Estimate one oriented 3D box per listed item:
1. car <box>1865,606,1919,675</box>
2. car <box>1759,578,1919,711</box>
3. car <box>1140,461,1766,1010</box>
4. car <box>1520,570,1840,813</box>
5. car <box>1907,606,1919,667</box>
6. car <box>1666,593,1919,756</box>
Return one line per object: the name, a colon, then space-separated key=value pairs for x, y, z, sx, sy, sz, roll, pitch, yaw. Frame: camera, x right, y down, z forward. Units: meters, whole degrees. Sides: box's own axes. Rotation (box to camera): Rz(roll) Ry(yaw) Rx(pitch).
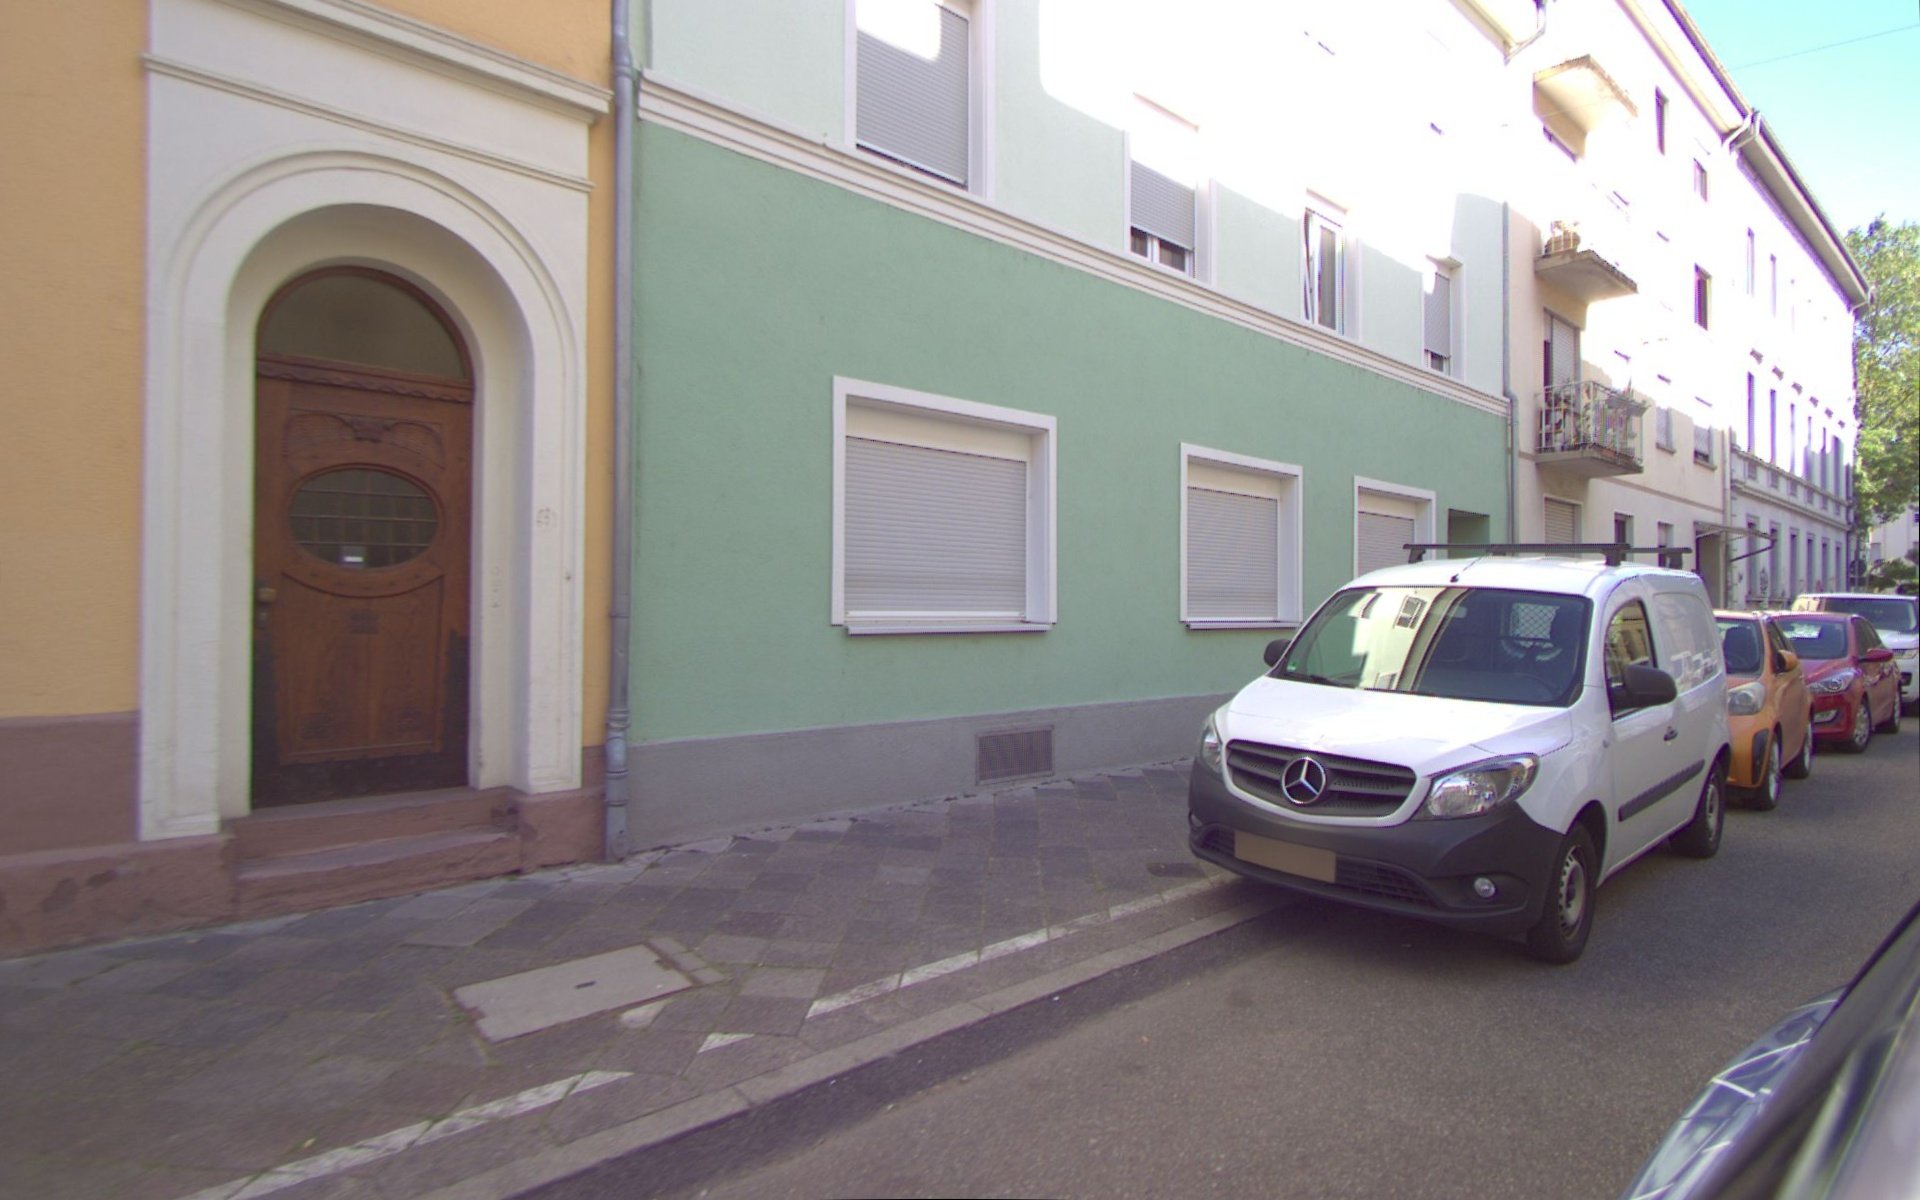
car: x=21.929 y=0.891 z=22.870 sx=3.802 sy=1.467 sz=1.748 roll=1 pitch=-3 yaw=-42
car: x=14.334 y=0.634 z=15.877 sx=4.853 sy=1.806 sz=2.008 roll=1 pitch=-1 yaw=-42
car: x=3.048 y=0.483 z=5.773 sx=4.262 sy=1.986 sz=1.784 roll=0 pitch=0 yaw=-43
car: x=6.332 y=0.655 z=8.756 sx=3.620 sy=1.653 sz=1.581 roll=1 pitch=-2 yaw=-44
car: x=26.373 y=0.922 z=26.524 sx=4.645 sy=1.539 sz=1.817 roll=1 pitch=-3 yaw=-42
car: x=9.836 y=0.746 z=11.832 sx=3.962 sy=1.589 sz=1.744 roll=1 pitch=-1 yaw=-42
